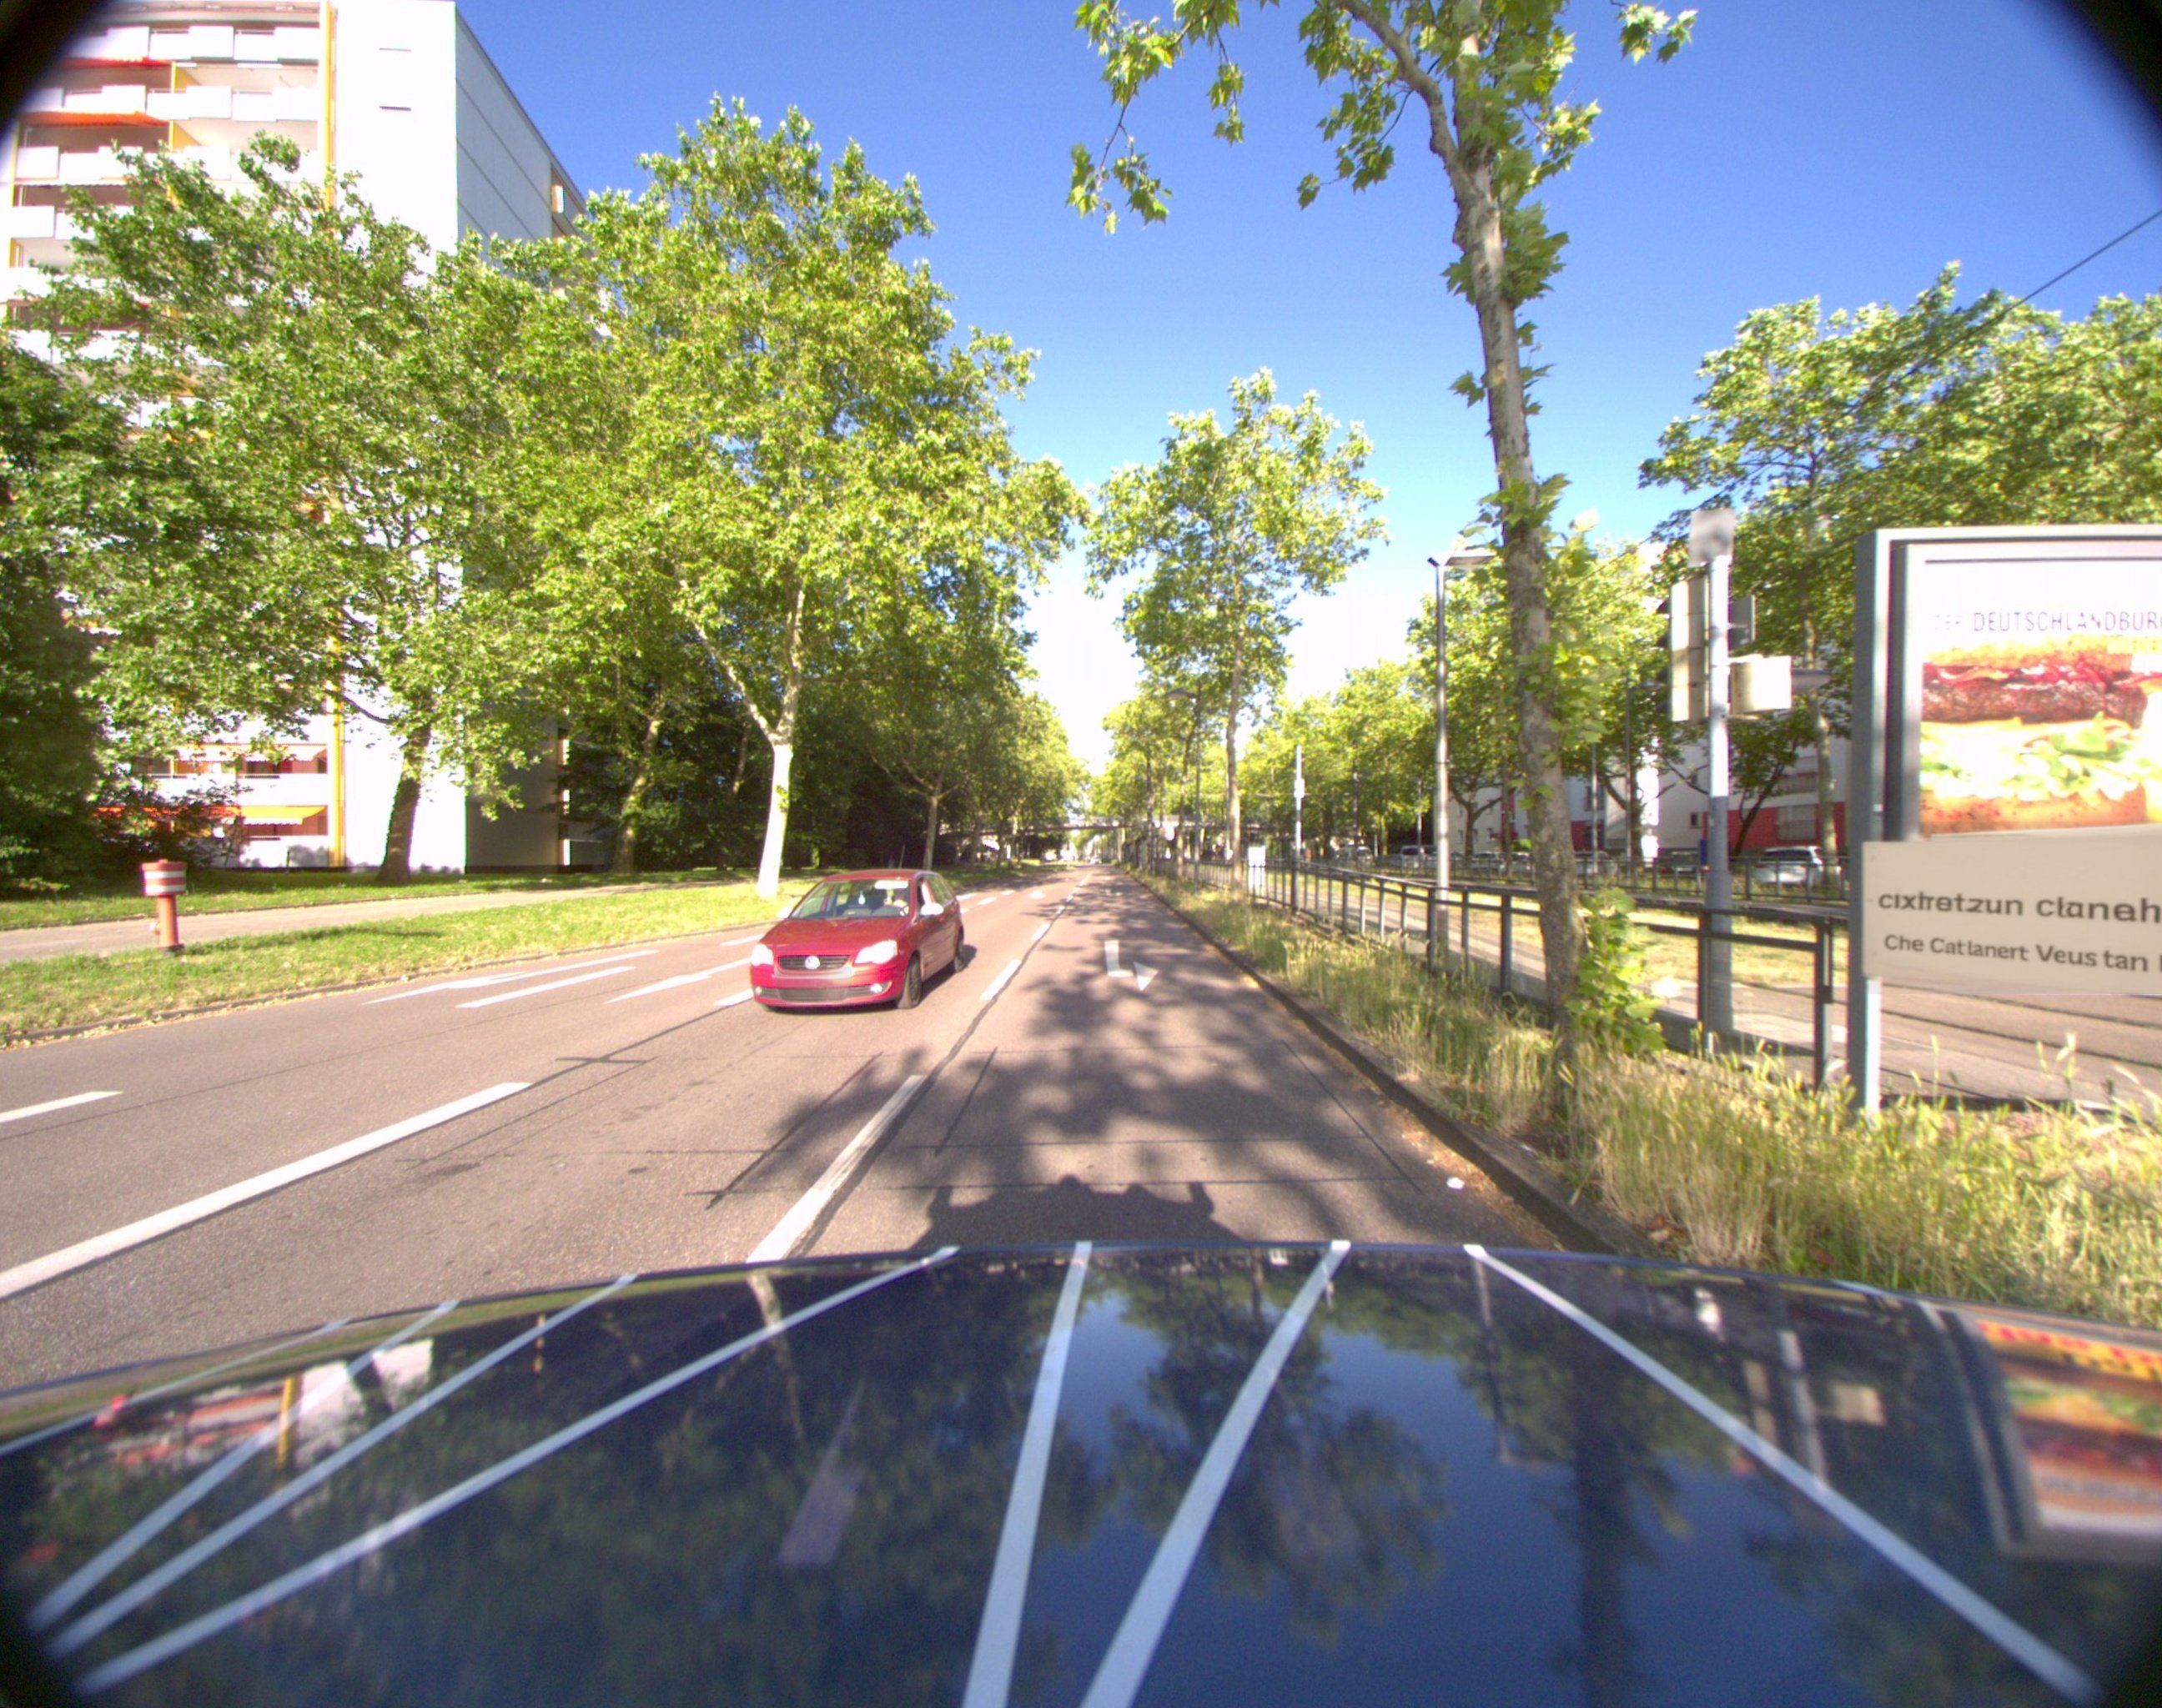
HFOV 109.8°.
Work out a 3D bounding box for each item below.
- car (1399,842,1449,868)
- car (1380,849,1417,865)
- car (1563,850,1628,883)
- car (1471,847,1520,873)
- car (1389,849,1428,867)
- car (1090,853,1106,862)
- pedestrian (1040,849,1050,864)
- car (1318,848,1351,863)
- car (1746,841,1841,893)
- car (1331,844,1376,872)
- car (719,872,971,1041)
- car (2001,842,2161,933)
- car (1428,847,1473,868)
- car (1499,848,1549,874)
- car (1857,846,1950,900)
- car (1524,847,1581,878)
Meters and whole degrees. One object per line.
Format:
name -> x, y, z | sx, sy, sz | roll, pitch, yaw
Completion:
car -> 25.744, 0.061, 56.935 | 4.056, 1.802, 1.864 | -1, 1, -41
car -> 26.718, 0.270, 63.894 | 3.494, 1.293, 1.476 | -1, 1, -41
car -> 25.618, 0.587, 37.822 | 3.890, 1.406, 1.486 | -3, 1, -37
car -> 25.900, 0.372, 47.447 | 3.493, 1.417, 1.558 | -3, -1, -42
car -> 25.947, 0.284, 60.208 | 3.494, 1.336, 1.476 | -1, 1, -41
car -> 3.151, 0.646, 138.449 | 1.795, 1.465, 4.004 | -2, 1, 18
pedestrian -> -4.961, 0.331, 104.498 | 0.917, 2.002, 0.964 | -1, 2, 44
car -> 26.524, 0.157, 79.459 | 3.742, 1.517, 1.597 | -1, 1, -43
car -> 25.273, 0.421, 26.920 | 4.007, 1.586, 1.810 | -3, 1, -37
car -> 20.015, 0.285, 56.014 | 1.795, 1.980, 4.653 | -1, 0, 3
car -> -2.519, 1.025, 9.099 | 1.646, 1.430, 3.761 | -2, 1, 2
car -> 18.940, 0.549, 12.868 | 1.769, 1.503, 4.102 | -1, 0, 1
car -> 26.239, 0.225, 53.943 | 3.494, 1.395, 1.623 | -1, 1, -41
car -> 26.070, 0.397, 44.670 | 3.493, 1.321, 1.476 | -3, 0, -41
car -> 25.151, 0.540, 23.202 | 3.770, 1.420, 1.555 | -3, 1, -37
car -> 25.719, 0.470, 41.412 | 3.402, 1.499, 1.461 | -3, 1, -37
